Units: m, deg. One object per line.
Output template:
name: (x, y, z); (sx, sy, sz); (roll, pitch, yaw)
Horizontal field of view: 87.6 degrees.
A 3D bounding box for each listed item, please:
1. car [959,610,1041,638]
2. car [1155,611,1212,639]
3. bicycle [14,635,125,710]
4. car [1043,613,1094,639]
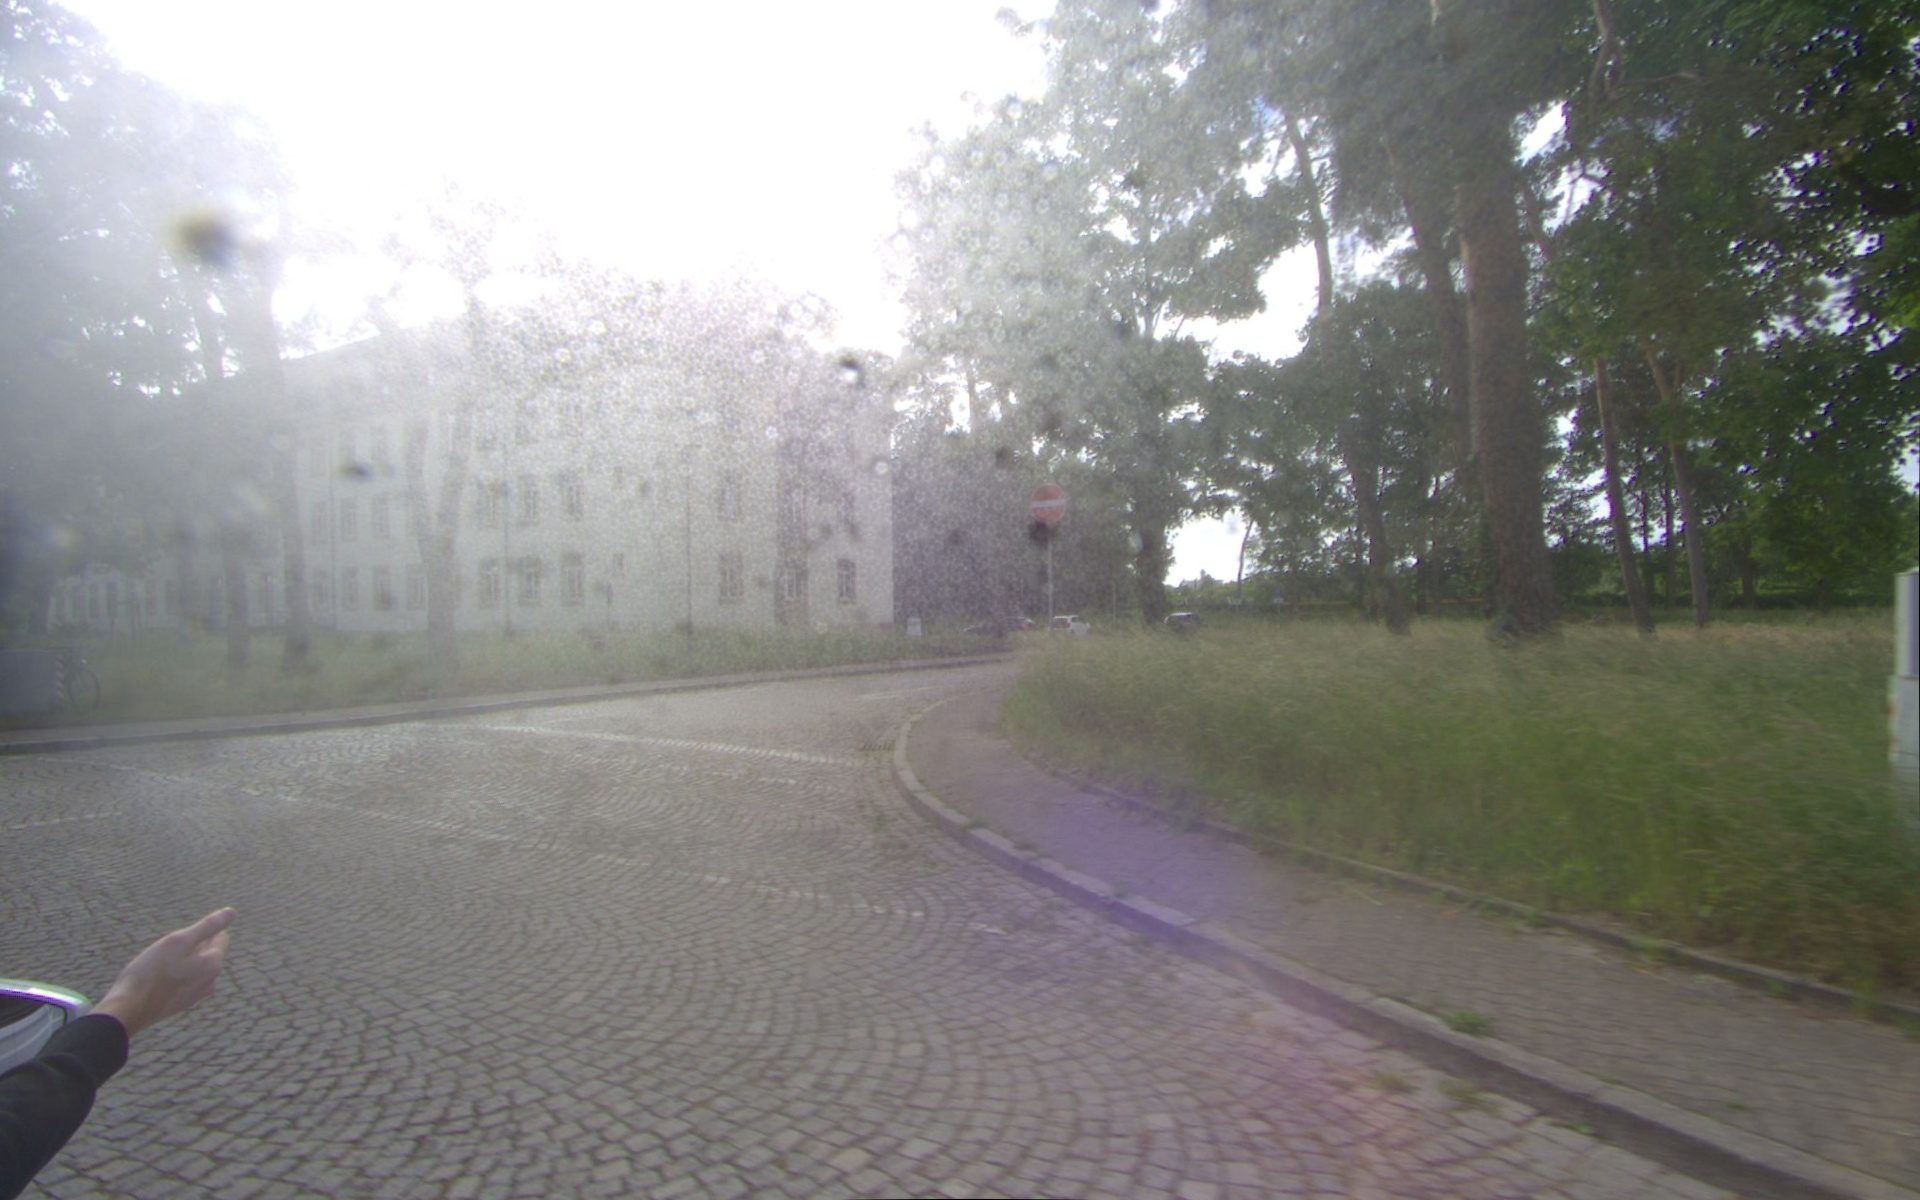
car: (2.320, 1.419, 58.785); (4.384, 1.607, 1.991); (-1, 0, 30)
car: (12.759, 1.409, 57.057); (1.971, 1.553, 3.979); (-1, -1, 32)
bicycle: (-13.983, 1.109, 15.715); (1.805, 1.077, 0.643); (-1, 3, 28)
car: (6.704, 1.563, 61.603); (1.748, 1.553, 3.675); (-1, -1, 32)
